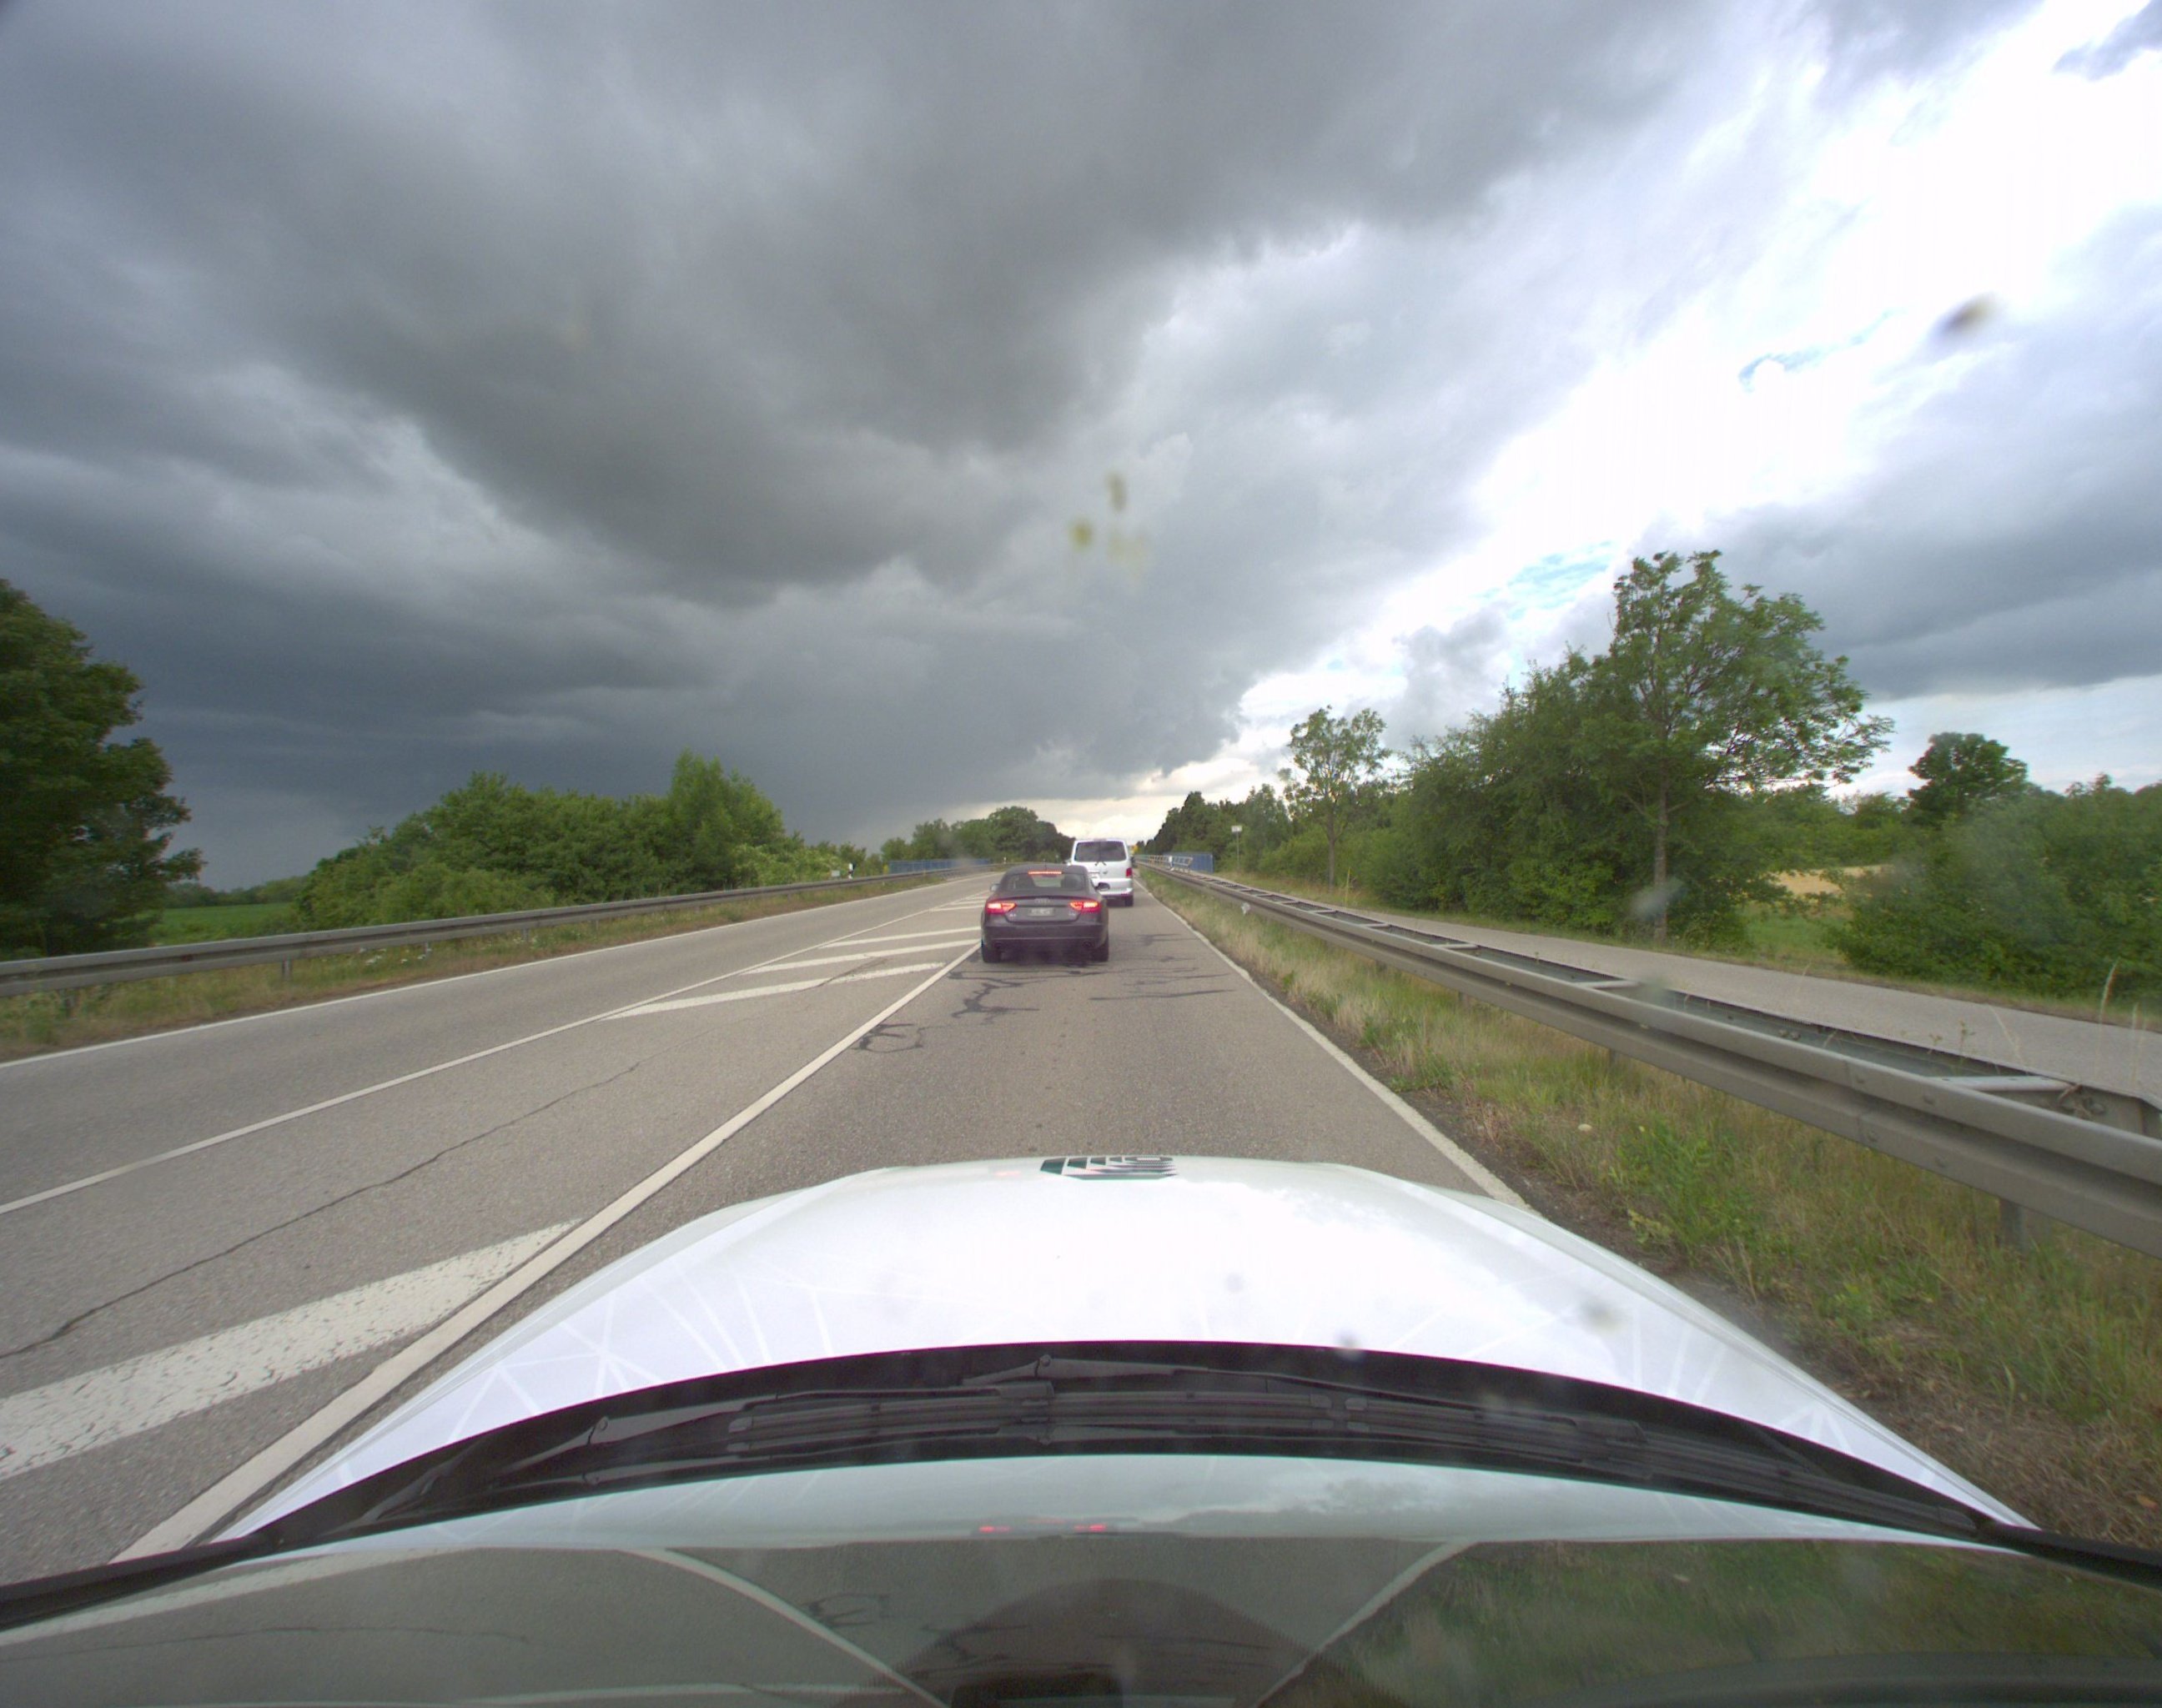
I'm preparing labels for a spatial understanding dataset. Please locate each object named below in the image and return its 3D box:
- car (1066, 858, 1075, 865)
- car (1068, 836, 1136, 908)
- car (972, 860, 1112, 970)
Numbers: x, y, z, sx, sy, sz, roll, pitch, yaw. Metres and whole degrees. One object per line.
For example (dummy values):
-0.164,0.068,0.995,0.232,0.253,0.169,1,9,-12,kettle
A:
-2.078,1.559,165.658,1.793,1.450,4.446,-2,0,0,car
0.641,0.512,24.512,1.821,1.935,4.001,-2,0,2,car
-0.454,0.819,12.796,1.815,1.381,4.073,-2,0,2,car
